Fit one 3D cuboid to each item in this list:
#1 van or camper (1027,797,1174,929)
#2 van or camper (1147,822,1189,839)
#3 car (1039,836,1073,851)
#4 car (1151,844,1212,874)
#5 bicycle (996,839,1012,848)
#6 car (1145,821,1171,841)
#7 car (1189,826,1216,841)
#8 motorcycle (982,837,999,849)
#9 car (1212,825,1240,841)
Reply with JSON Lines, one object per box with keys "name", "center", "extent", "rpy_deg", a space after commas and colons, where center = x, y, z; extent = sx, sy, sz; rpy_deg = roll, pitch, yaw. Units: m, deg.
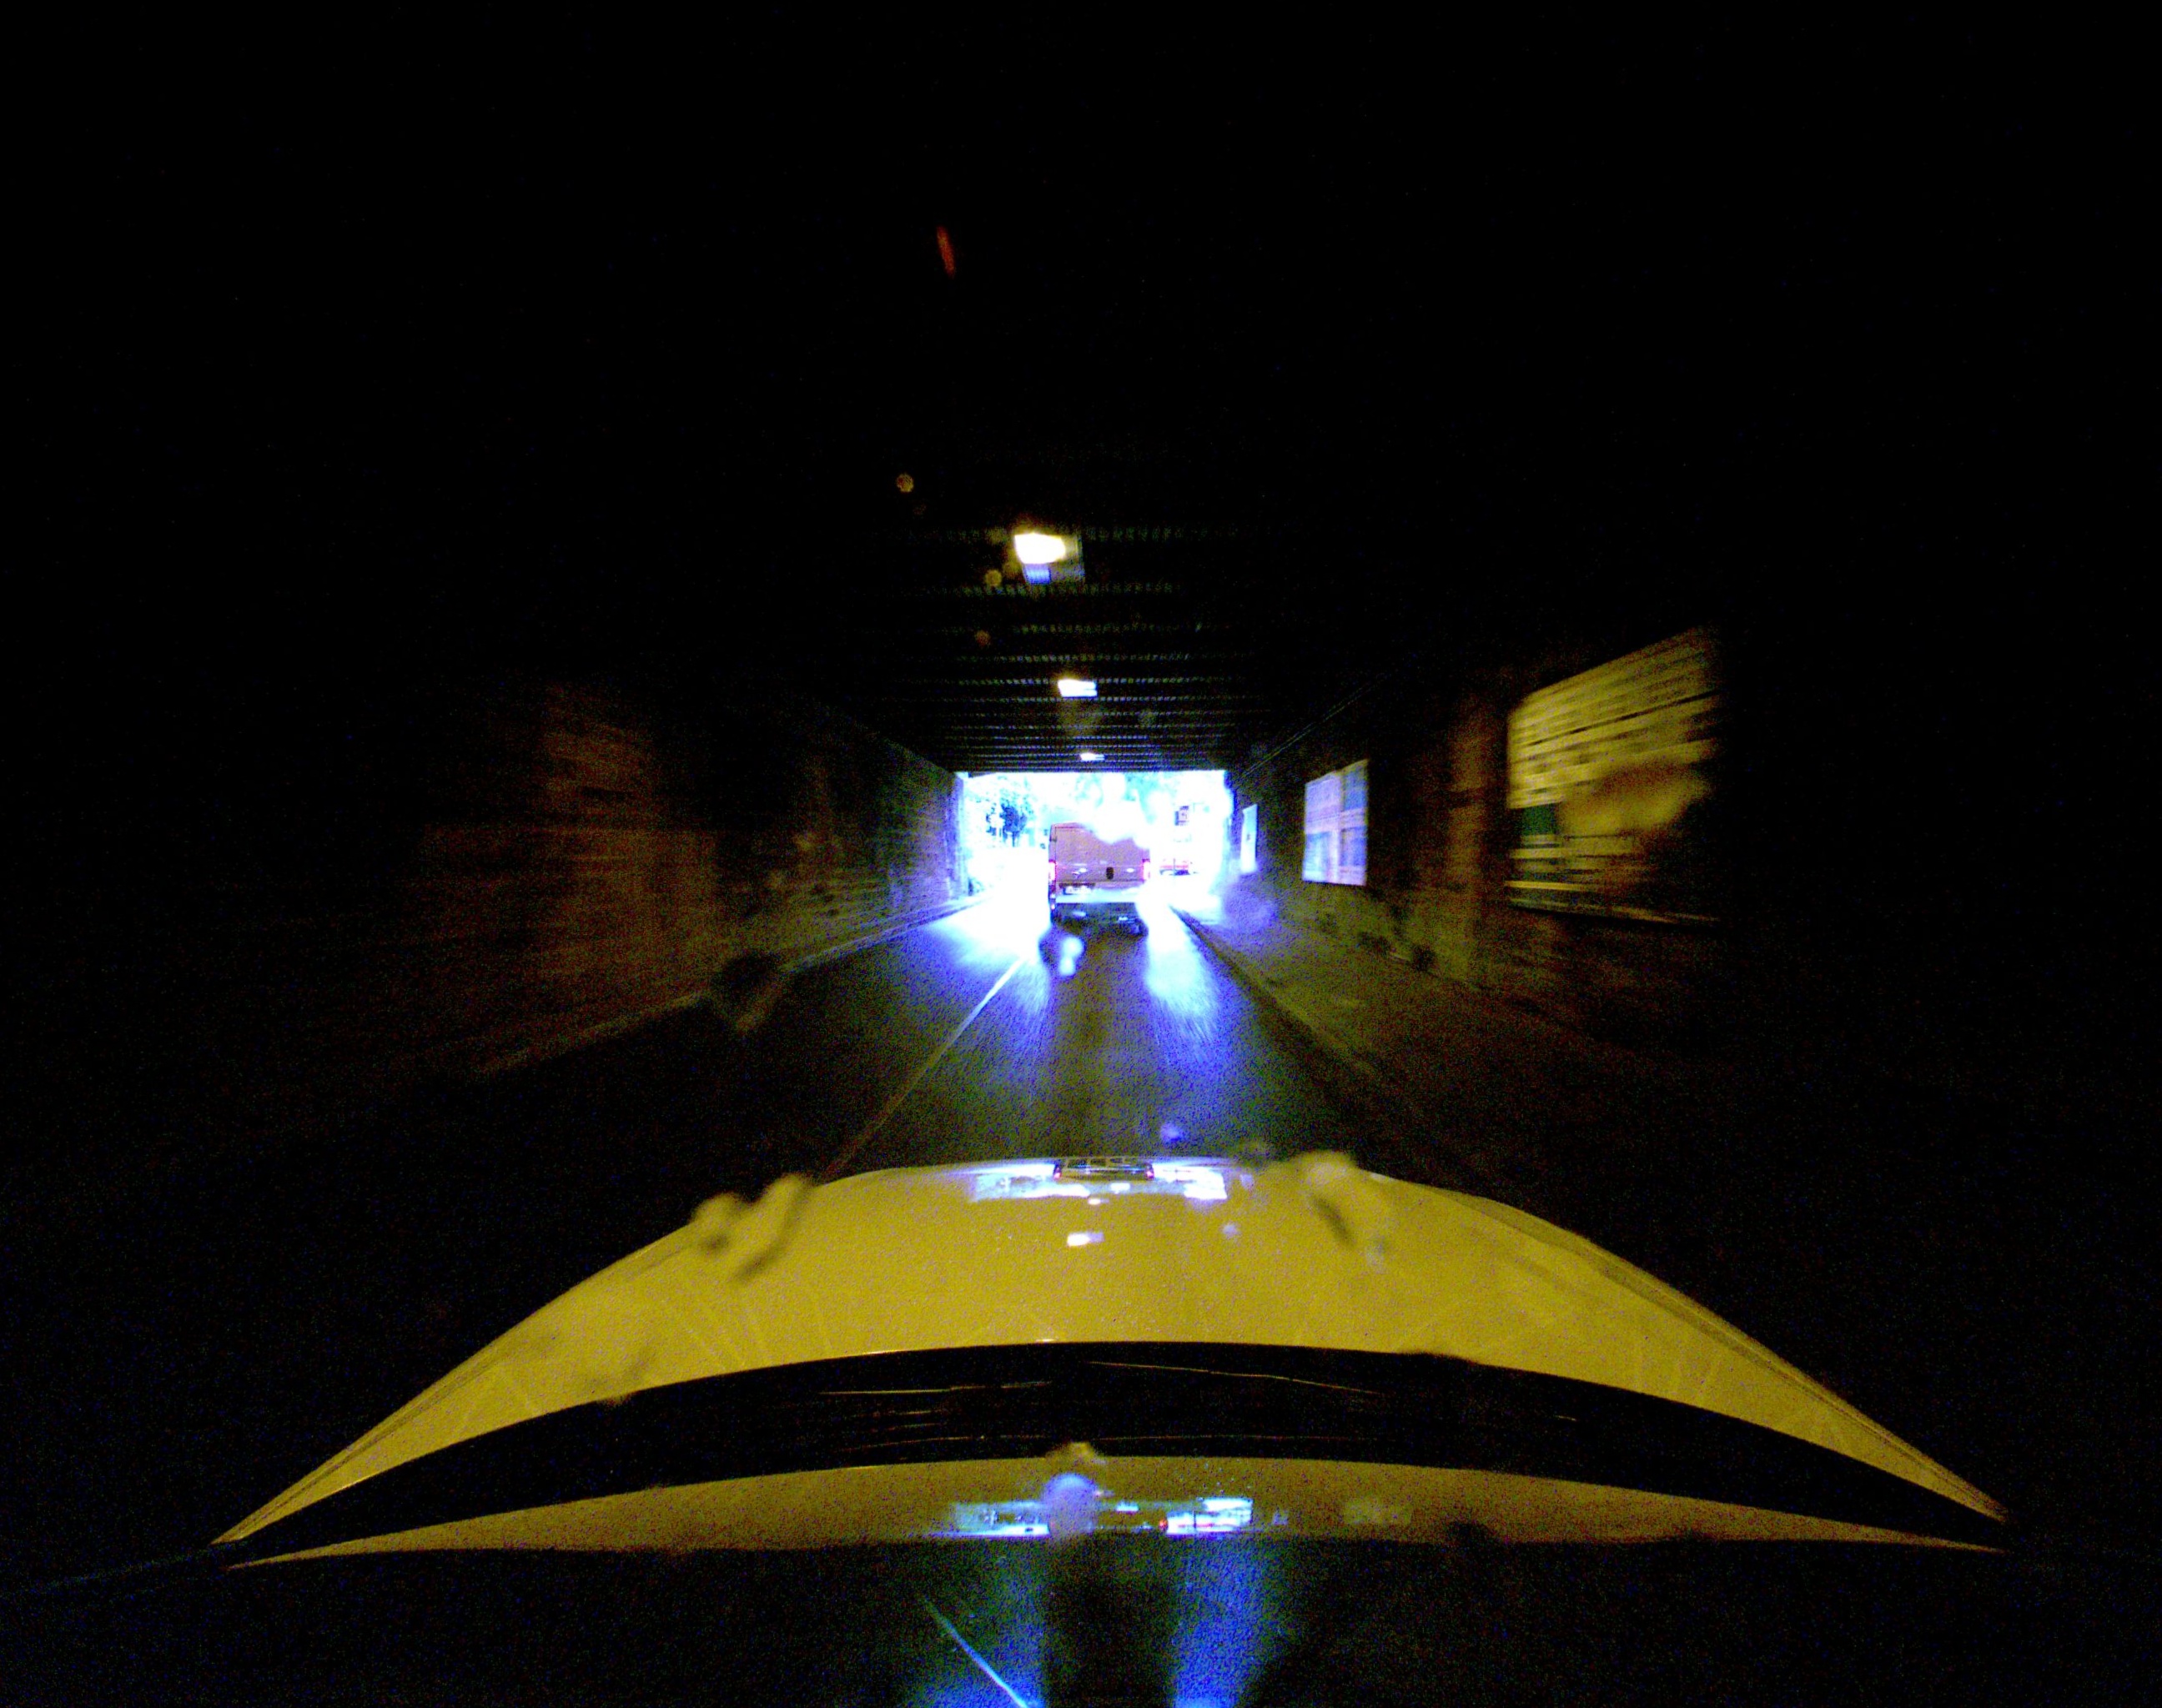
{"name": "van or camper", "center": [0.457, 0.241, 17.740], "extent": [2.688, 2.417, 4.905], "rpy_deg": [-2, -2, 2]}
{"name": "van or camper", "center": [11.169, -3.023, 104.538], "extent": [5.279, 2.013, 2.083], "rpy_deg": [-1, 0, 7]}
{"name": "car", "center": [-3.056, -1.319, 100.565], "extent": [1.974, 1.688, 4.026], "rpy_deg": [-1, 0, 37]}
{"name": "car", "center": [5.293, 0.221, 42.558], "extent": [1.819, 1.438, 4.127], "rpy_deg": [-2, 0, 26]}
{"name": "bicycle", "center": [-9.188, -1.250, 97.583], "extent": [0.919, 1.128, 2.303], "rpy_deg": [-1, 0, 23]}
{"name": "car", "center": [8.051, -2.350, 85.472], "extent": [1.990, 1.947, 3.994], "rpy_deg": [-1, 0, -4]}
{"name": "car", "center": [12.732, -2.172, 85.718], "extent": [1.990, 1.486, 3.994], "rpy_deg": [-1, 0, -4]}
{"name": "motorcycle", "center": [-10.872, -1.287, 97.823], "extent": [1.982, 1.422, 0.658], "rpy_deg": [-1, 0, -2]}
{"name": "car", "center": [15.182, -2.173, 85.545], "extent": [1.990, 1.539, 3.994], "rpy_deg": [-1, 0, -4]}
